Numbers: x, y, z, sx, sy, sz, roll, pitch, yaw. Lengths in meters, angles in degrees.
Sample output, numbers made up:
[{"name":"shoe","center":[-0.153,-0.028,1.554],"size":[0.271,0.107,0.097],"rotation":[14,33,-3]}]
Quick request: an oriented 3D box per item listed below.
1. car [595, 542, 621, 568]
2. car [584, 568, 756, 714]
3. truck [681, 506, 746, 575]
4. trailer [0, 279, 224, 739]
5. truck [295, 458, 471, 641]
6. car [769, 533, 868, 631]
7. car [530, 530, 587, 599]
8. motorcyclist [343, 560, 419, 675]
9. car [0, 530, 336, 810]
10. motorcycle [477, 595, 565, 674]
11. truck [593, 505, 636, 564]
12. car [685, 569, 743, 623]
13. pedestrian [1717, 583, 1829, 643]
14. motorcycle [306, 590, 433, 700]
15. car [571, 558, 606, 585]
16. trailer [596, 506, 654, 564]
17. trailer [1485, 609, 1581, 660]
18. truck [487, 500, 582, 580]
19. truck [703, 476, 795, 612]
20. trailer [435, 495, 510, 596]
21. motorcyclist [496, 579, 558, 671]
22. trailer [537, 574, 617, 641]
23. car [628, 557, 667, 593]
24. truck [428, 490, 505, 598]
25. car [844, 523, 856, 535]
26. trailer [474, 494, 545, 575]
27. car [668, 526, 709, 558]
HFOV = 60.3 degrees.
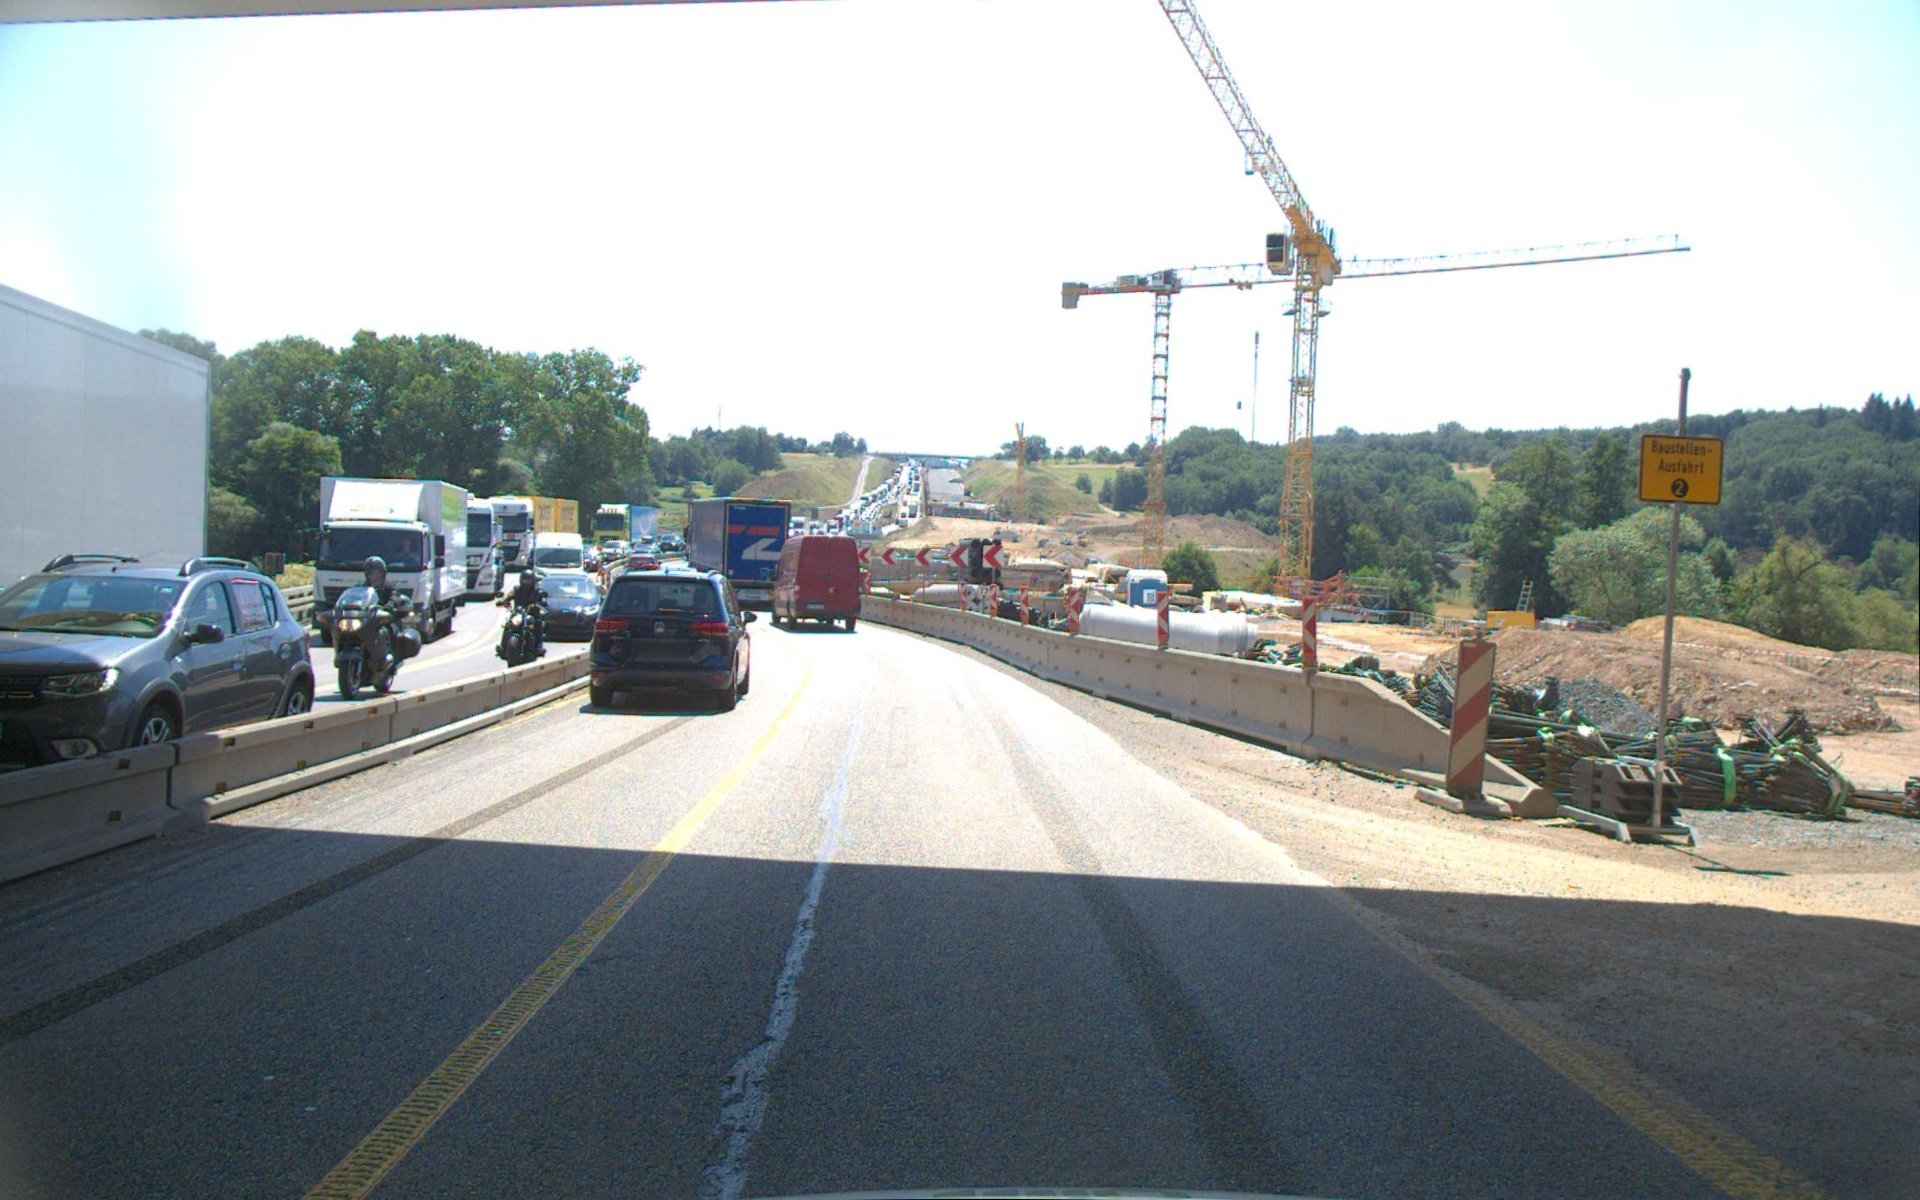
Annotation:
[{"name":"car","center":[-23.126,-2.980,108.672],"size":[1.608,1.511,3.989],"rotation":[1,3,-13]},{"name":"car","center":[-3.631,0.450,21.387],"size":[1.699,1.664,4.386],"rotation":[1,1,-4]},{"name":"truck","center":[-15.184,-3.683,102.375],"size":[3.118,4.058,6.741],"rotation":[1,2,-2]},{"name":"trailer","center":[-9.850,-0.843,12.685],"size":[2.820,4.110,14.345],"rotation":[3,0,-4]},{"name":"truck","center":[-12.972,-1.083,37.870],"size":[2.768,3.638,8.470],"rotation":[2,0,-13]},{"name":"car","center":[-4.213,-0.553,48.484],"size":[2.113,2.656,5.421],"rotation":[1,1,-13]},{"name":"car","center":[-15.989,-1.367,65.817],"size":[2.036,2.547,6.460],"rotation":[1,0,-14]},{"name":"motorcyclist","center":[-7.487,0.230,21.403],"size":[0.704,1.441,0.742],"rotation":[1,-2,-4]},{"name":"car","center":[-6.155,0.390,12.107],"size":[1.711,1.700,4.077],"rotation":[1,1,-2]},{"name":"motorcycle","center":[-6.993,0.533,26.506],"size":[0.816,1.170,2.788],"rotation":[1,0,-4]},{"name":"truck","center":[-26.787,-5.031,128.330],"size":[2.574,4.344,4.727],"rotation":[3,1,-5]},{"name":"car","center":[-8.160,-0.167,54.646],"size":[1.800,1.664,4.380],"rotation":[1,1,-10]},{"name":"pedestrian","center":[29.287,0.516,59.693],"size":[1.953,2.049,3.998],"rotation":[1,-1,-2]},{"name":"motorcycle","center":[-7.483,0.539,21.107],"size":[0.688,1.301,2.733],"rotation":[1,0,-2]},{"name":"car","center":[-21.294,-1.648,94.986],"size":[1.646,1.385,4.494],"rotation":[2,2,-9]},{"name":"trailer","center":[-27.267,-5.224,135.178],"size":[2.595,4.366,13.301],"rotation":[3,1,-4]},{"name":"trailer","center":[19.233,1.136,55.682],"size":[1.592,1.512,3.822],"rotation":[2,0,-5]},{"name":"truck","center":[-25.752,-3.638,101.023],"size":[2.751,4.417,15.364],"rotation":[2,2,-4]},{"name":"truck","center":[-8.416,-2.244,65.452],"size":[2.894,5.031,6.721],"rotation":[1,2,-13]},{"name":"trailer","center":[-20.467,-2.227,69.811],"size":[2.483,3.855,10.207],"rotation":[2,0,-14]},{"name":"motorcyclist","center":[-7.009,0.409,26.803],"size":[0.794,1.441,0.742],"rotation":[1,-2,-4]},{"name":"trailer","center":[-8.987,0.162,38.649],"size":[1.637,1.456,3.983],"rotation":[1,0,-15]},{"name":"car","center":[-15.114,-1.224,80.029],"size":[1.801,1.664,4.096],"rotation":[1,1,-11]},{"name":"truck","center":[-18.892,-2.098,63.528],"size":[2.491,3.888,4.932],"rotation":[2,0,-14]},{"name":"car","center":[-16.204,-10.502,244.552],"size":[1.585,1.729,3.889],"rotation":[2,2,-2]},{"name":"trailer","center":[-24.996,-3.600,92.017],"size":[2.809,4.303,5.215],"rotation":[1,1,-4]},{"name":"car","center":[-20.849,-4.476,127.161],"size":[2.218,2.395,5.161],"rotation":[2,2,0]}]
